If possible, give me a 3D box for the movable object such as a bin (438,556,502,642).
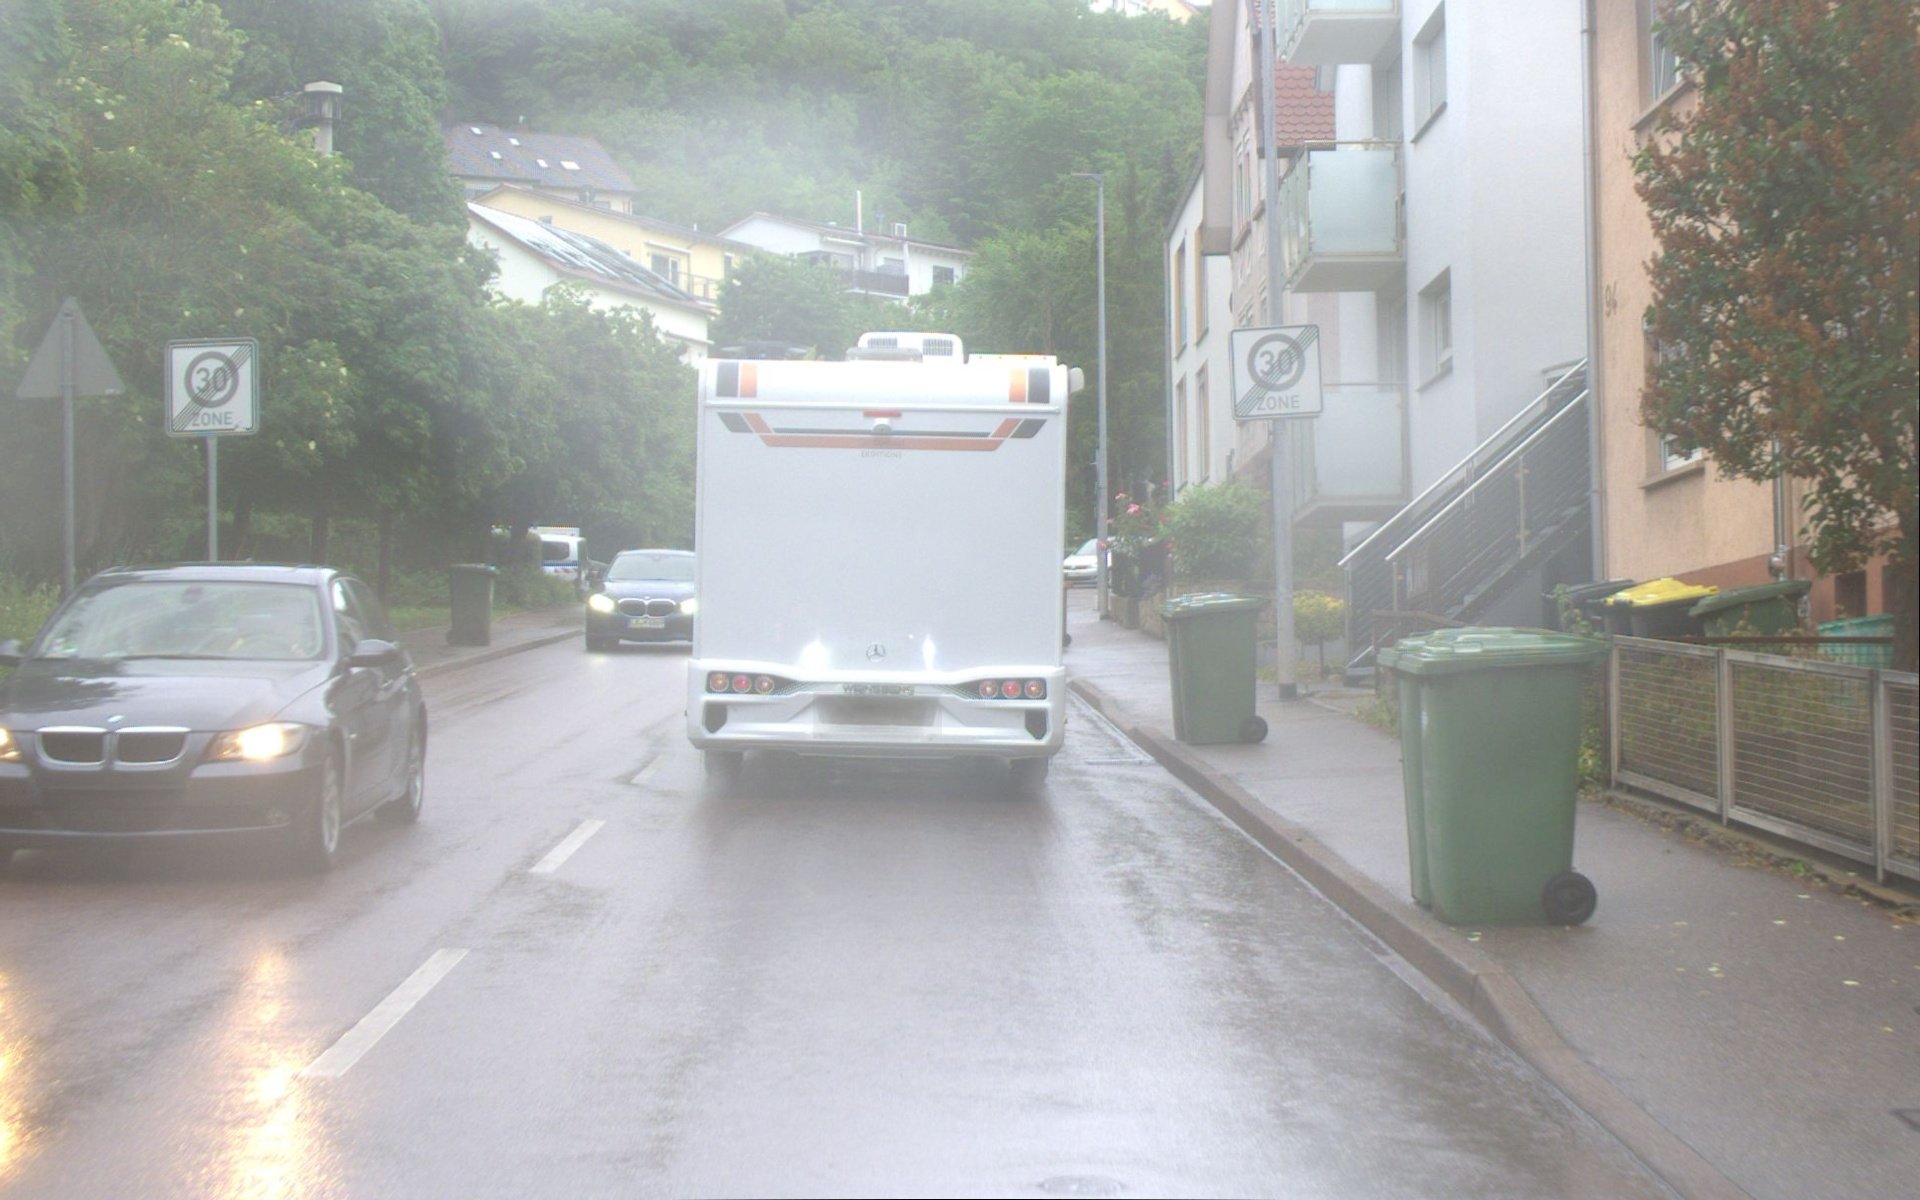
[{"bbox_3d":[-6.478,-0.017,45.459,0.720,1.096,0.757,2,1,-1],"label":"movable object such as a bin"}]

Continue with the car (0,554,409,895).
[{"bbox_3d":[-3.742,0.514,16.904,1.560,1.449,4.085,1,1,-2],"label":"car"}]

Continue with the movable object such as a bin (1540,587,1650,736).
[{"bbox_3d":[4.874,0.467,26.394,0.660,1.089,0.545,-4,1,-3],"label":"movable object such as a bin"}]

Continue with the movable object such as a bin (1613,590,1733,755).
[{"bbox_3d":[4.957,0.495,23.922,0.644,1.089,0.545,-4,1,-3],"label":"movable object such as a bin"}]

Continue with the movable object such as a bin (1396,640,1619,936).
[{"bbox_3d":[2.042,0.688,12.915,0.720,1.048,0.800,1,1,2],"label":"movable object such as a bin"}]

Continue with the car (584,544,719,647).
[{"bbox_3d":[-4.404,-0.092,49.555,1.719,1.425,3.845,0,1,-2],"label":"car"}]

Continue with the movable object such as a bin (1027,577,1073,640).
[{"bbox_3d":[1.308,0.114,49.791,0.630,0.894,0.712,1,1,-1],"label":"movable object such as a bin"}]

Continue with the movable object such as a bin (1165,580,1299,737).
[{"bbox_3d":[1.950,0.413,24.720,0.914,1.099,0.702,1,1,1],"label":"movable object such as a bin"}]

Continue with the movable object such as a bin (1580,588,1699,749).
[{"bbox_3d":[4.856,0.483,24.575,0.660,1.089,0.545,-4,1,-3],"label":"movable object such as a bin"}]

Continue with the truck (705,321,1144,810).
[{"bbox_3d":[-0.259,-0.245,23.036,2.515,2.808,6.202,1,1,-1],"label":"truck"}]

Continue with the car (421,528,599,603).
[{"bbox_3d":[-11.093,-0.854,84.944,4.106,1.794,2.000,1,1,1],"label":"car"}]

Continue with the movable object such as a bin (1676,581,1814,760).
[{"bbox_3d":[5.009,0.442,21.966,0.660,1.089,0.656,-3,1,-3],"label":"movable object such as a bin"}]

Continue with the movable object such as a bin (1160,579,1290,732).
[{"bbox_3d":[1.956,0.401,25.468,0.914,1.099,0.702,1,1,1],"label":"movable object such as a bin"}]

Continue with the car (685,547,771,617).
[{"bbox_3d":[-4.901,-0.395,73.032,1.618,1.436,3.737,1,1,-1],"label":"car"}]
